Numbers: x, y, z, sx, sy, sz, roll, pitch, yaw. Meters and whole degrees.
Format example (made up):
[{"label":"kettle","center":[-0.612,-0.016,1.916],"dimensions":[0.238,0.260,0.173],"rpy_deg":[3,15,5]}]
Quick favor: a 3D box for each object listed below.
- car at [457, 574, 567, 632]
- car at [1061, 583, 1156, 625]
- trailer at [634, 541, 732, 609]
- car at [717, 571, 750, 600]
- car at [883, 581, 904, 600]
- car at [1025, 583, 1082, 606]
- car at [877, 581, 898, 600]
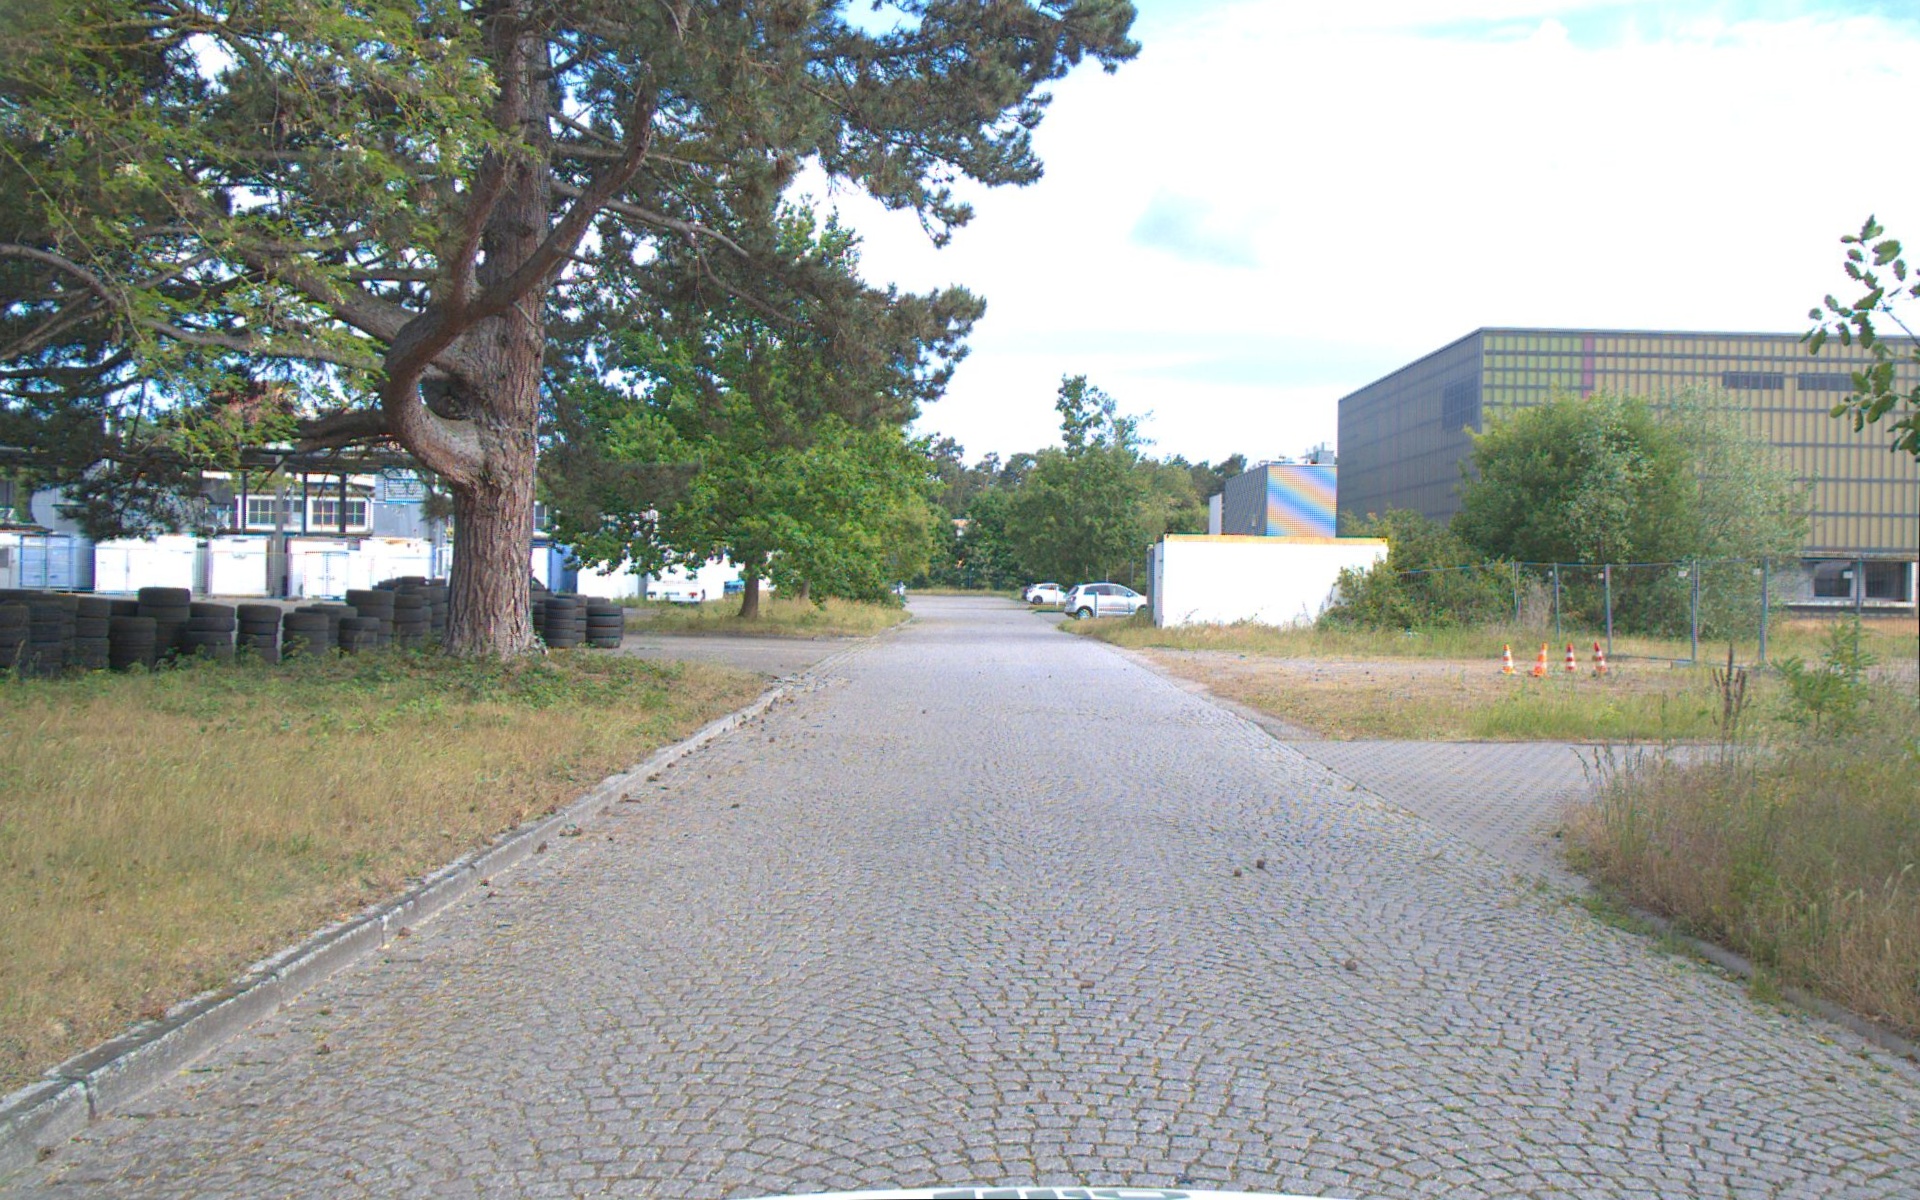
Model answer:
[{"label":"car","center":[-12.098,0.065,44.835],"dimensions":[1.729,1.478,3.490],"rpy_deg":[1,0,6]},{"label":"car","center":[6.237,0.149,69.640],"dimensions":[3.772,1.683,1.685],"rpy_deg":[1,0,-3]},{"label":"trailer","center":[-13.645,-1.221,82.280],"dimensions":[3.093,3.121,8.787],"rpy_deg":[1,1,2]},{"label":"car","center":[-16.798,-1.074,122.799],"dimensions":[1.886,2.083,4.598],"rpy_deg":[1,0,-2]},{"label":"car","center":[-5.778,-0.849,144.188],"dimensions":[1.767,1.561,3.998],"rpy_deg":[1,0,-2]},{"label":"car","center":[6.540,-0.383,115.792],"dimensions":[3.942,1.528,1.548],"rpy_deg":[1,0,1]},{"label":"car","center":[-5.909,-0.749,134.831],"dimensions":[1.700,1.495,4.044],"rpy_deg":[1,0,-2]}]
